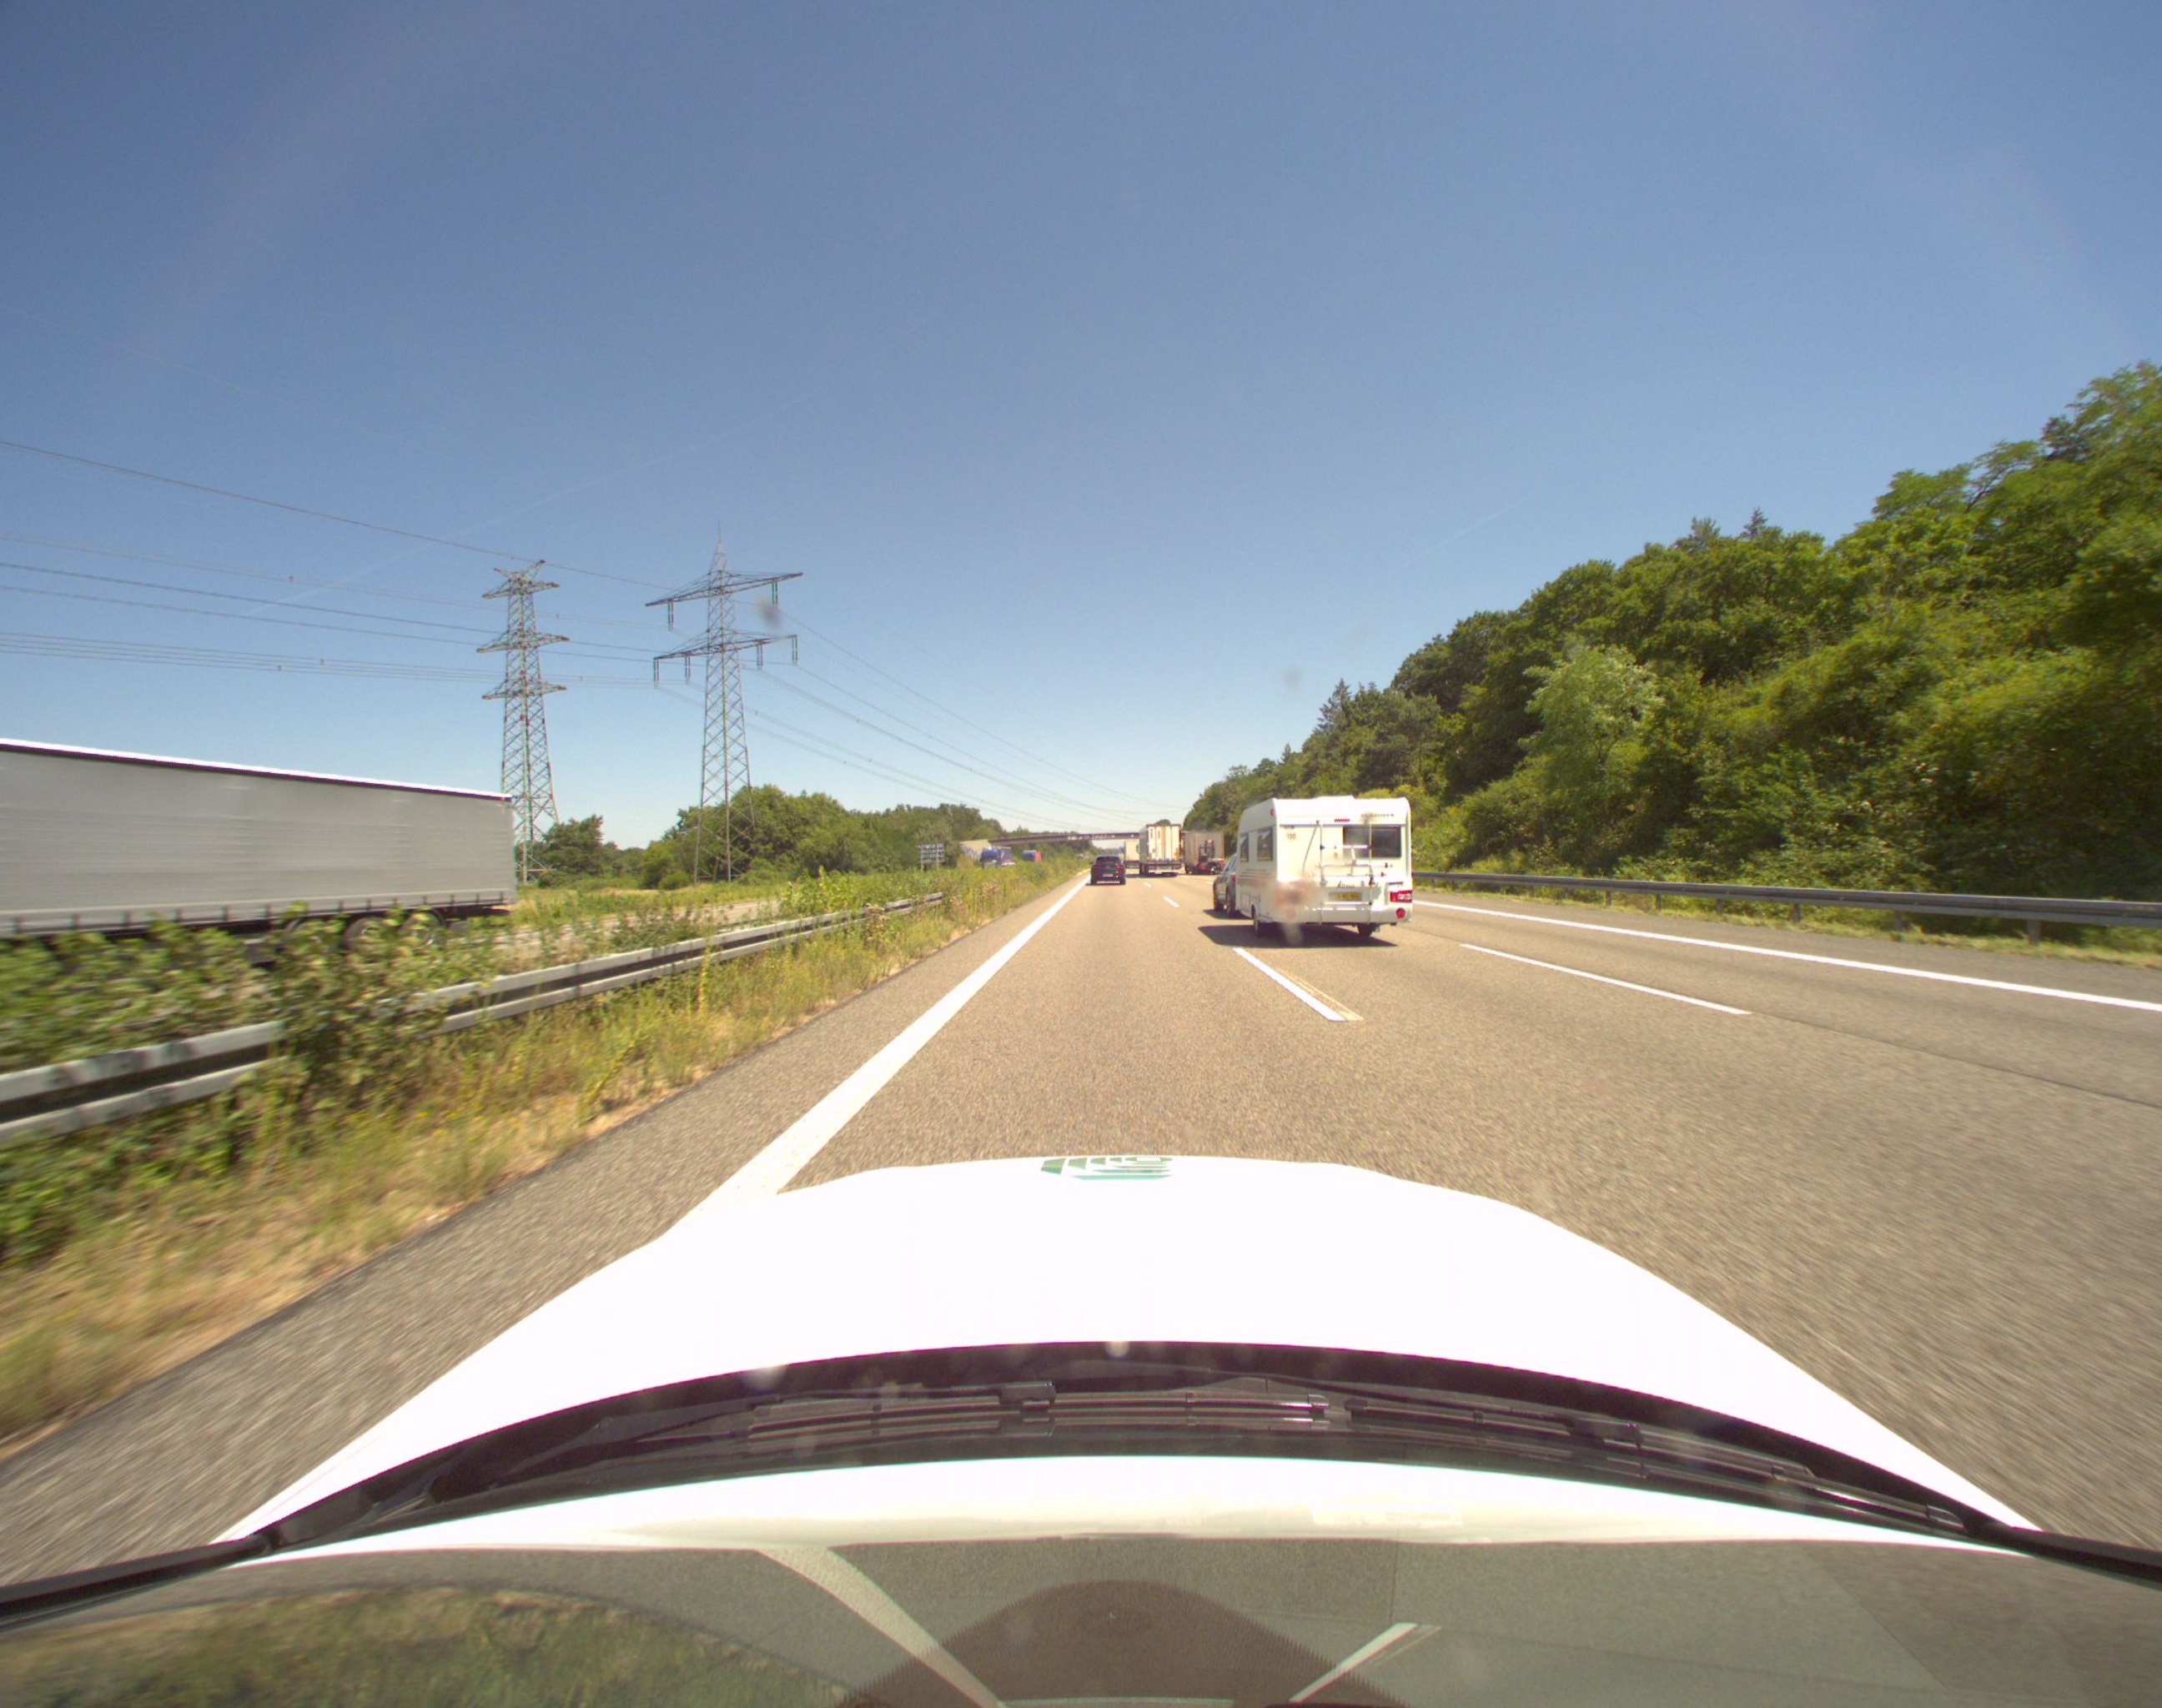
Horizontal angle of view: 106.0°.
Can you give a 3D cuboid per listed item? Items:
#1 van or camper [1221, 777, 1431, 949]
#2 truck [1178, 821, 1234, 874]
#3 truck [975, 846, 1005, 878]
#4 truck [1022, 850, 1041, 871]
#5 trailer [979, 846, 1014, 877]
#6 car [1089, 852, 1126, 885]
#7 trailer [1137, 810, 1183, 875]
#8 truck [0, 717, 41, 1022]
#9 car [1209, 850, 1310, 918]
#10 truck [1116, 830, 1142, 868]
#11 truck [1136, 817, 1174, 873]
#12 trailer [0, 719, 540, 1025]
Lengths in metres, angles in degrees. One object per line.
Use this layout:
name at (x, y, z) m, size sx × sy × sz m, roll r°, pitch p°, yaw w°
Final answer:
van or camper at (4.442, 0.147, 16.142) m, size 2.429 × 2.675 × 6.354 m, roll -2°, pitch 0°, yaw 3°
truck at (10.786, -0.464, 71.447) m, size 3.557 × 4.245 × 11.657 m, roll 0°, pitch -1°, yaw 2°
truck at (-13.243, 1.121, 119.638) m, size 3.076 × 4.407 × 6.804 m, roll -4°, pitch 0°, yaw 2°
truck at (-10.695, 1.349, 176.667) m, size 3.331 × 4.407 × 7.975 m, roll -3°, pitch 0°, yaw 2°
trailer at (-12.996, 1.128, 126.585) m, size 3.076 × 4.407 × 14.238 m, roll -4°, pitch 0°, yaw 2°
car at (1.505, 0.787, 47.069) m, size 1.987 × 1.772 × 4.000 m, roll -2°, pitch 0°, yaw 1°
trailer at (6.323, -0.818, 66.929) m, size 3.075 × 4.885 × 12.263 m, roll 0°, pitch -1°, yaw 2°
truck at (-17.333, 0.301, 8.846) m, size 3.356 × 4.408 × 6.557 m, roll -4°, pitch 0°, yaw 1°
car at (4.608, 0.718, 21.667) m, size 1.871 × 1.612 × 4.705 m, roll 0°, pitch 0°, yaw 3°
truck at (6.952, -0.701, 118.856) m, size 3.498 × 5.166 × 10.263 m, roll -1°, pitch 0°, yaw 2°
truck at (6.594, -0.754, 73.789) m, size 3.075 × 4.885 × 6.600 m, roll 0°, pitch -1°, yaw 2°
trailer at (-17.163, 0.360, 15.700) m, size 3.356 × 4.408 × 14.323 m, roll -4°, pitch 0°, yaw 1°
